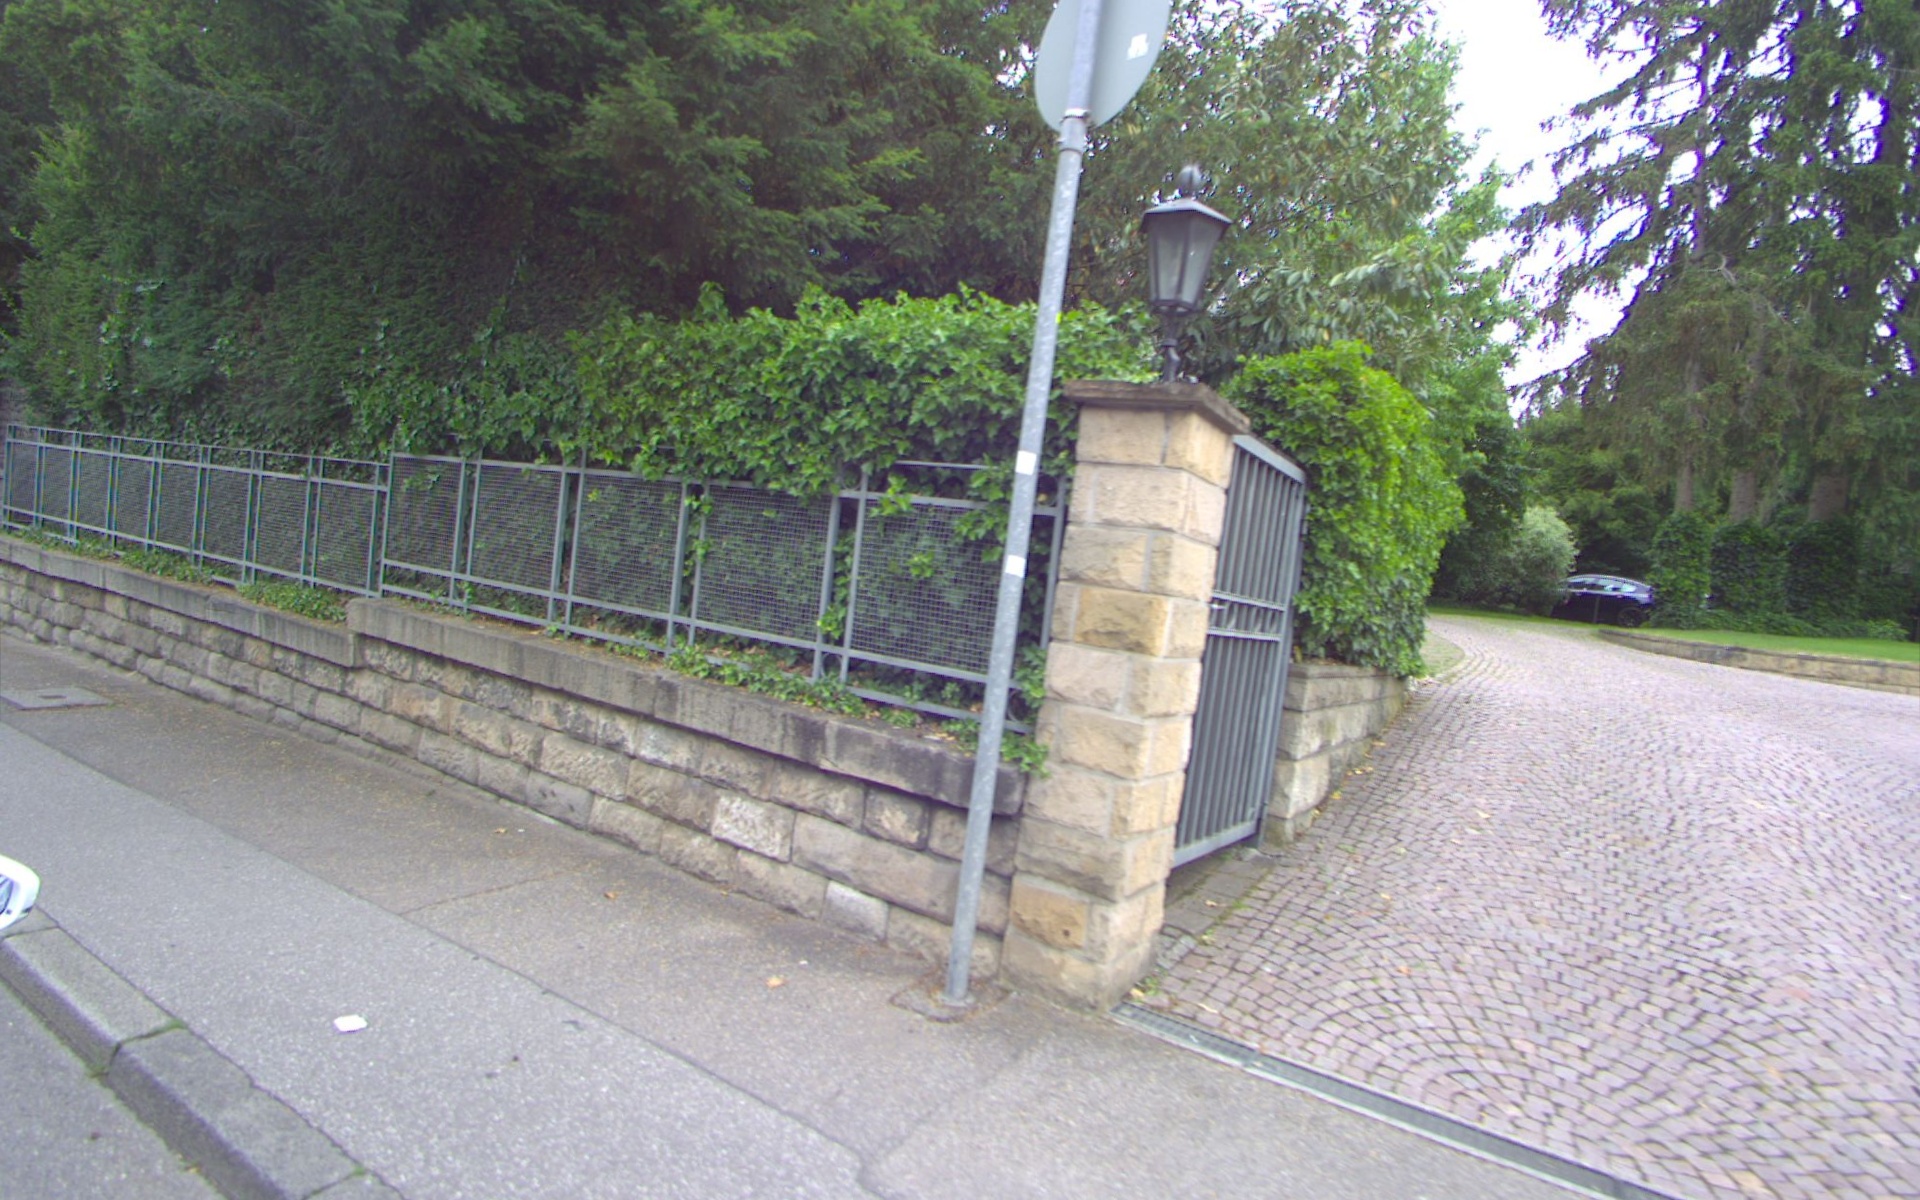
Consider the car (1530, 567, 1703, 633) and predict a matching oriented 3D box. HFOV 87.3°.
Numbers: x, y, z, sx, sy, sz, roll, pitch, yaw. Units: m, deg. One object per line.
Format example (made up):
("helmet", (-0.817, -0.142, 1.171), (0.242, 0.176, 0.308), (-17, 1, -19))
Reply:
("car", (17.086, -0.031, 26.323), (1.458, 1.251, 3.377), (2, 6, -36))
